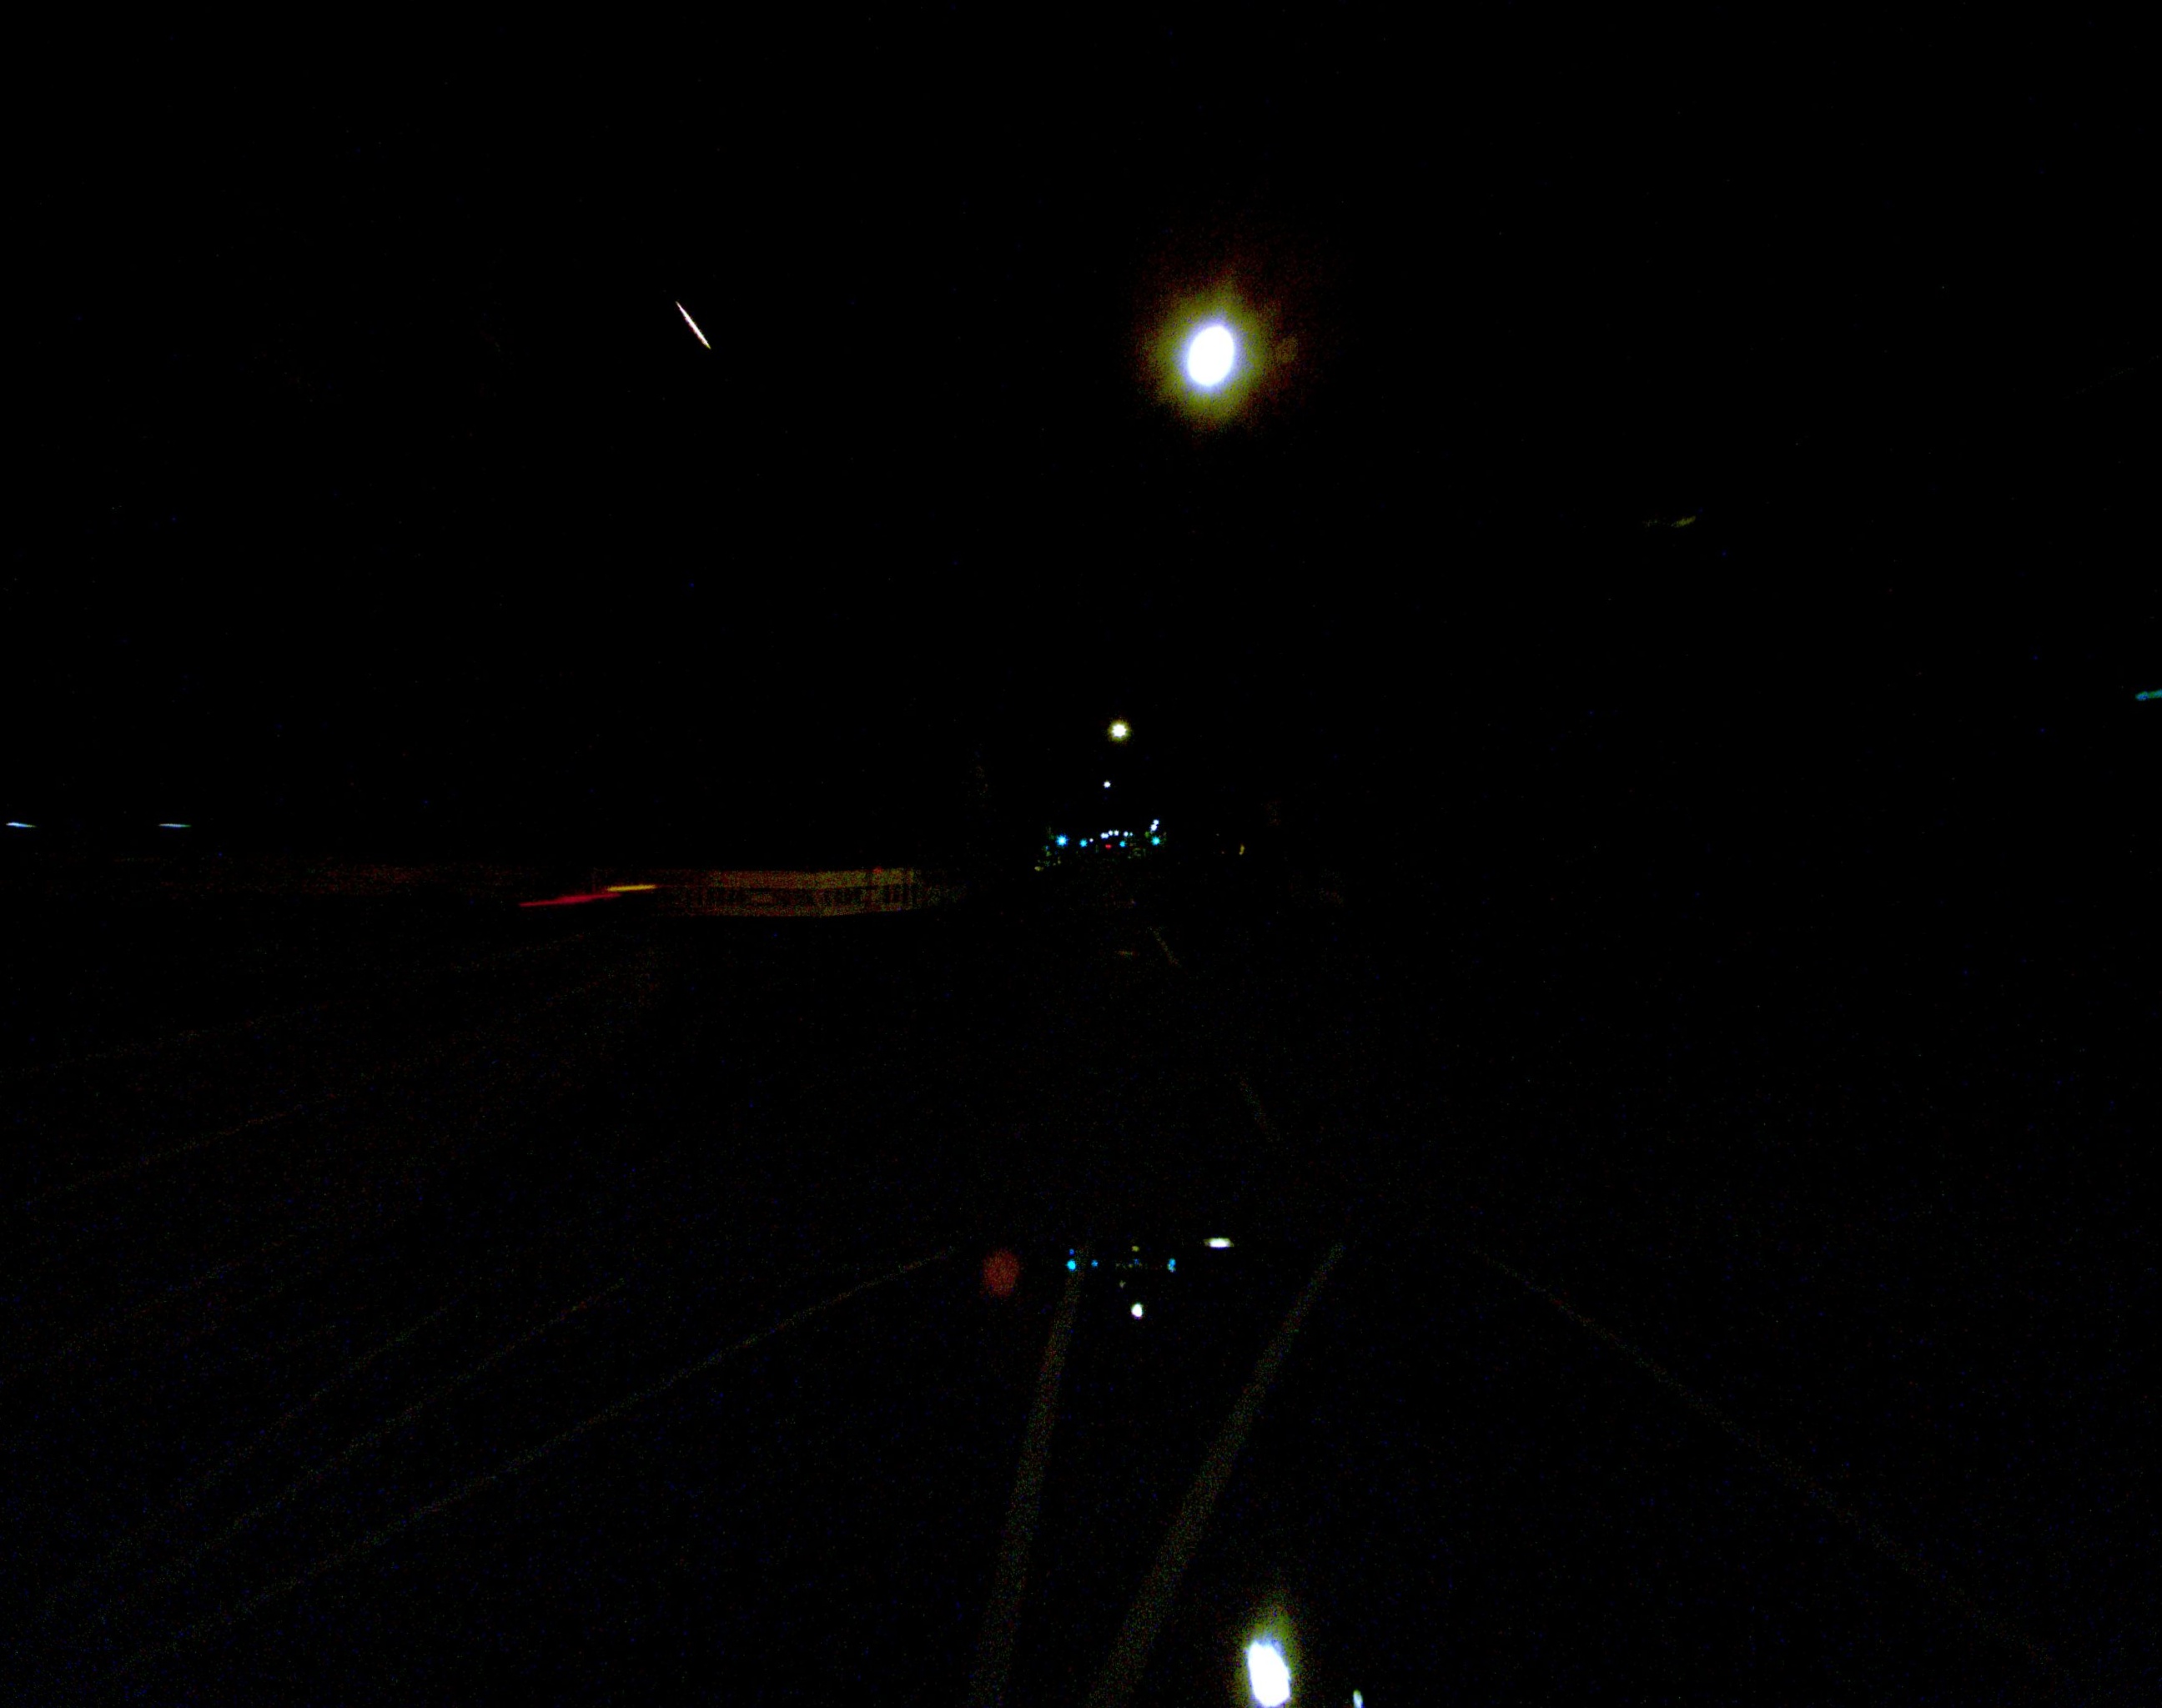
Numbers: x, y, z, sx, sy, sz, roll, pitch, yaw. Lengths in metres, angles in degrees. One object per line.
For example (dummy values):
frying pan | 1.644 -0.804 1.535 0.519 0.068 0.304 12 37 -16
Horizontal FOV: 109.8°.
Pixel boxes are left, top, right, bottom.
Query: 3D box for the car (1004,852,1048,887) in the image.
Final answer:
car | -2.390 0.656 33.861 1.732 1.411 4.322 0 1 -1

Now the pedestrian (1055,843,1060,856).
pedestrian | -3.073 -0.563 99.239 0.477 1.699 0.571 1 1 2

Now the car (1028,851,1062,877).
car | -2.046 0.546 44.262 1.690 1.412 4.443 1 1 1

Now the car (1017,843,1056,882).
car | -2.227 0.379 38.841 1.740 1.844 4.315 1 1 0

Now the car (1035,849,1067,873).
car | -1.937 0.429 50.395 1.744 1.469 4.000 3 1 2

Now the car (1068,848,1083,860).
car | -0.674 -0.032 97.854 1.740 1.446 4.000 1 1 4

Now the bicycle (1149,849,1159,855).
bicycle | 13.816 -0.446 144.041 1.772 1.144 0.583 1 2 44

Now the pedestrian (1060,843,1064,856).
pedestrian | -2.451 -0.646 99.375 0.508 1.699 0.705 1 1 2

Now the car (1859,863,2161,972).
car | 15.215 0.948 12.052 3.758 1.546 1.872 0 0 2

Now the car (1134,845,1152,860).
car | 7.968 -0.220 98.020 1.887 1.833 4.814 0 1 1

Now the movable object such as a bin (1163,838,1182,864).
movable object such as a bin | 9.265 -0.315 77.080 1.575 2.611 3.910 1 1 2
